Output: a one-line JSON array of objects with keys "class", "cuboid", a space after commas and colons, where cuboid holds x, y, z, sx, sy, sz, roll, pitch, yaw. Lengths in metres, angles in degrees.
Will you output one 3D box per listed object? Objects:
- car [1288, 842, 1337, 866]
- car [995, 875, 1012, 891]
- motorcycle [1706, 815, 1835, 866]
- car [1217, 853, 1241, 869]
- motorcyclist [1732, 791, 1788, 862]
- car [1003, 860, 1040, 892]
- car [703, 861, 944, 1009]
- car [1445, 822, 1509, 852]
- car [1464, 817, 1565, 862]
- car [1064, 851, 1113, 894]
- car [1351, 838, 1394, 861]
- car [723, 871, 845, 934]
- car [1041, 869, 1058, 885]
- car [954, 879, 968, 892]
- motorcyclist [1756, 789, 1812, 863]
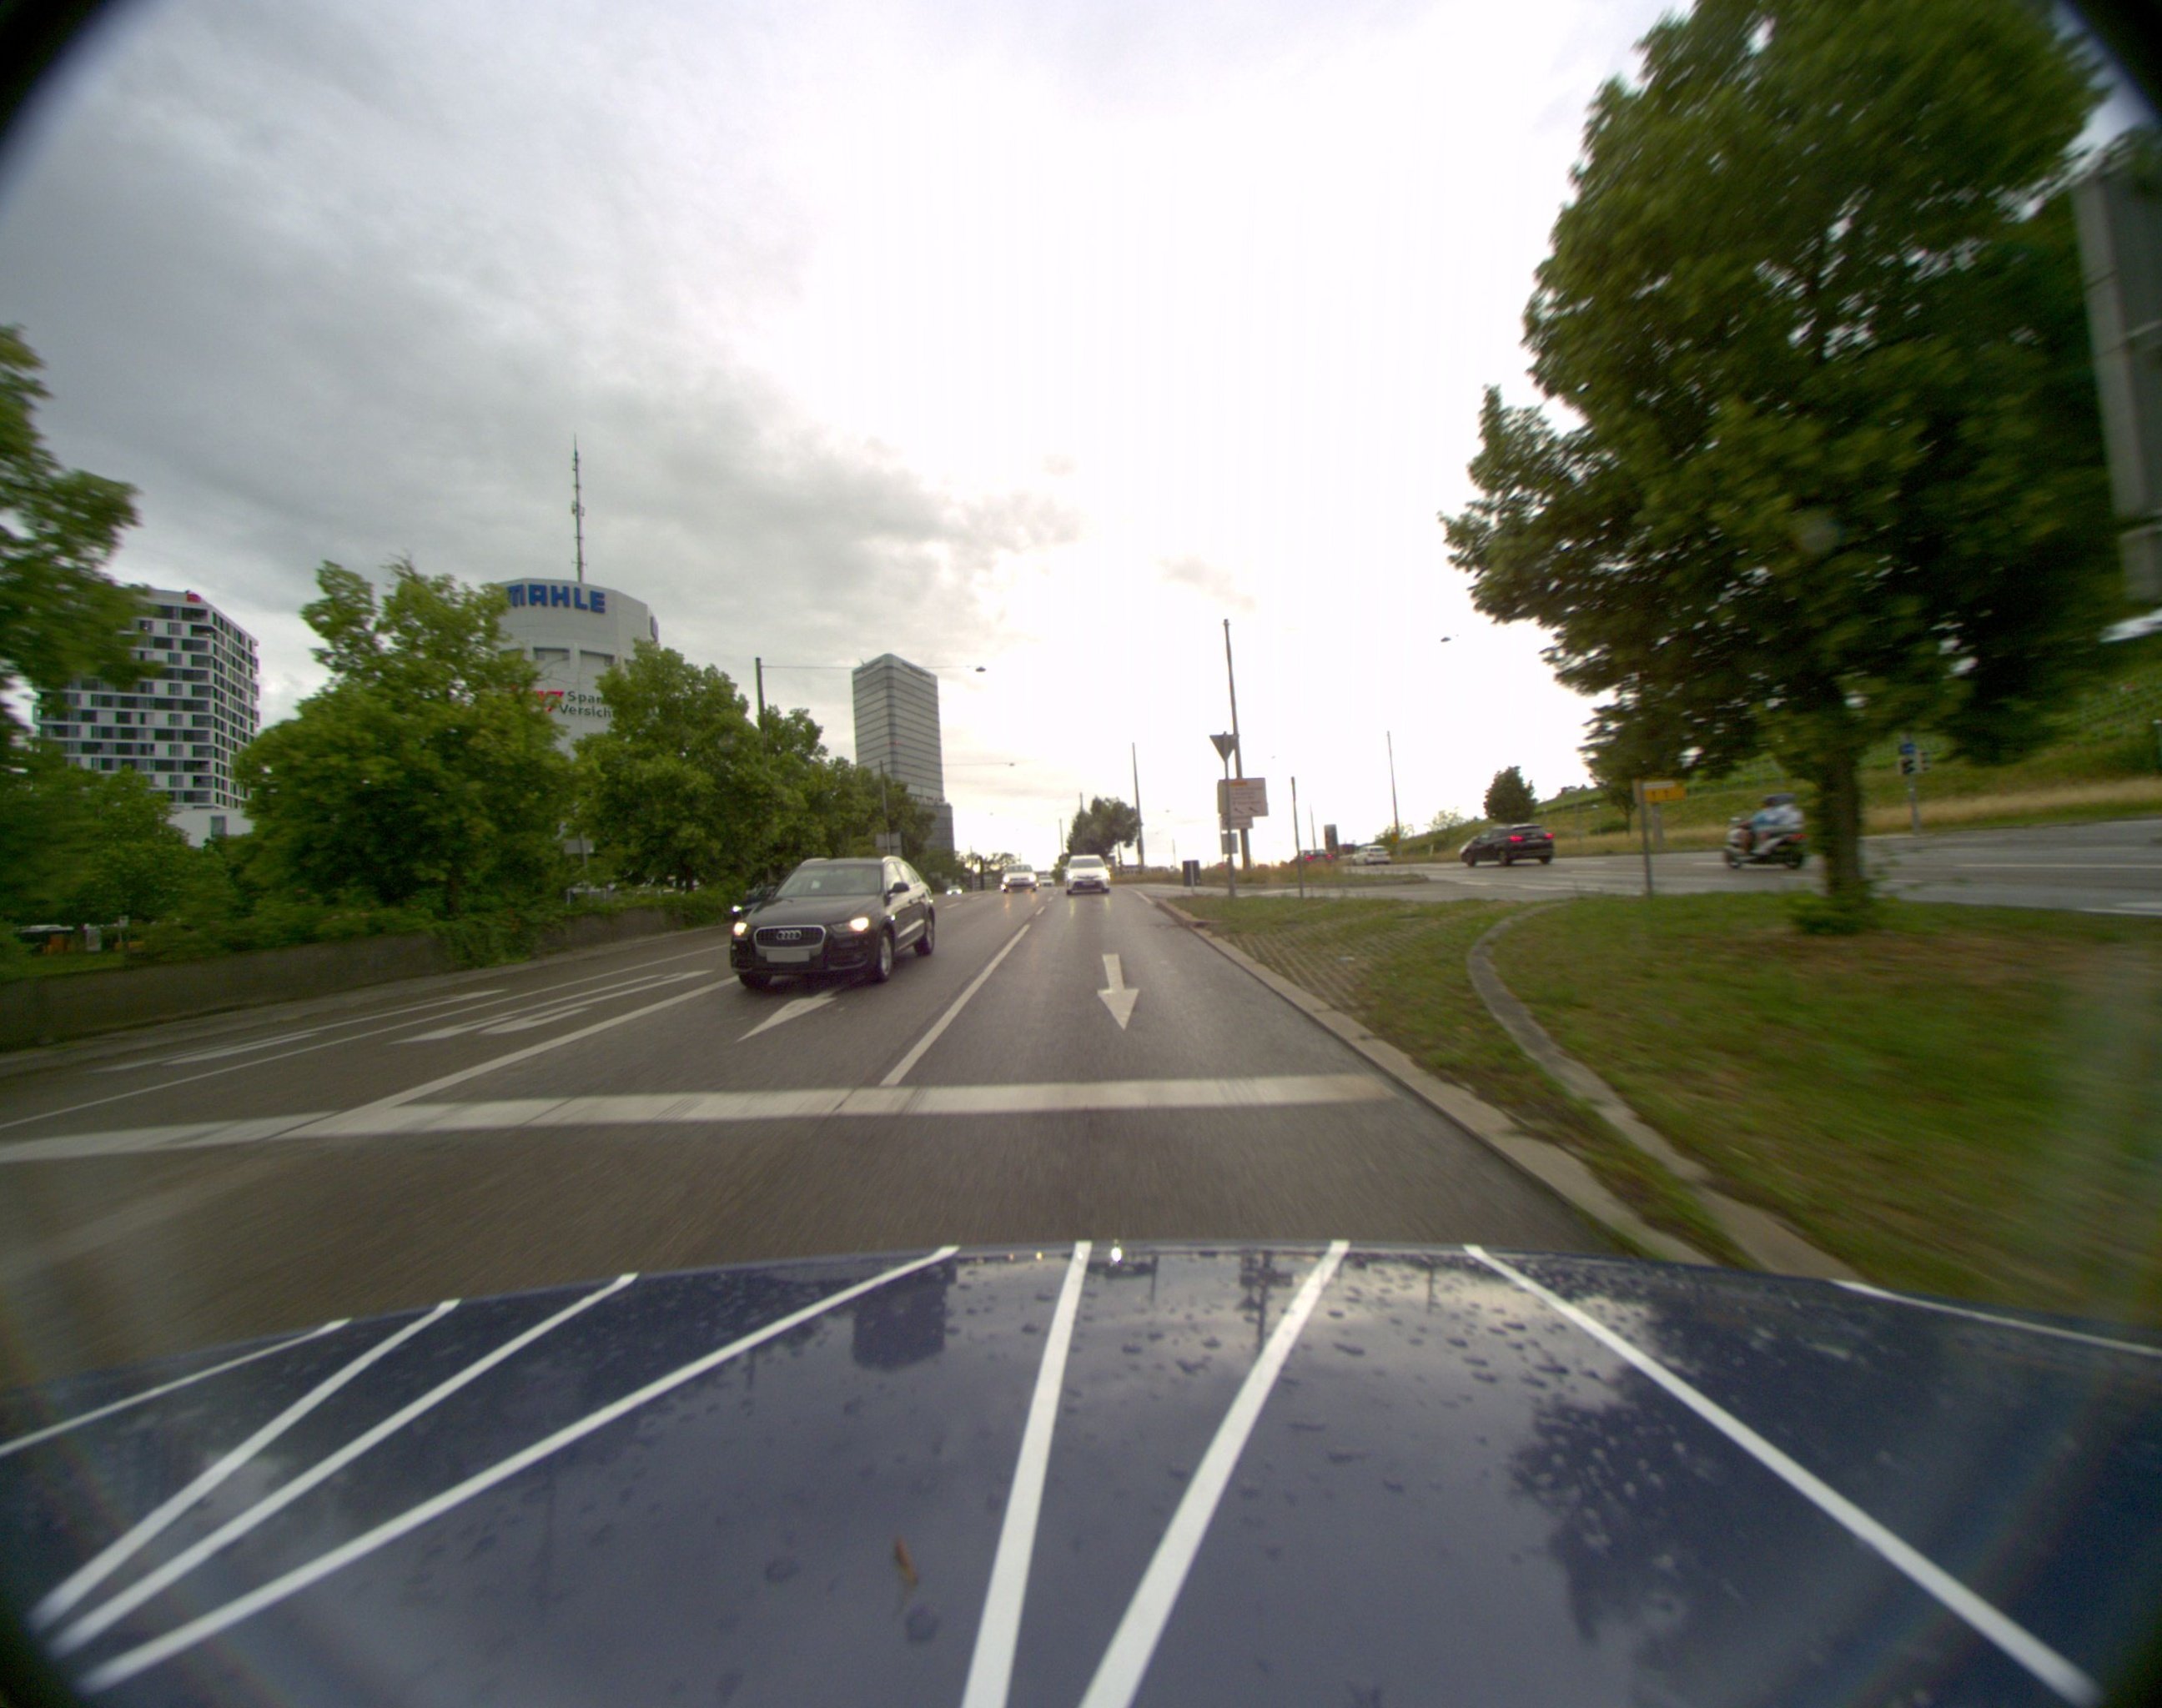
[{"class": "car", "cuboid": [15.839, -0.011, 52.167, 1.755, 1.495, 4.463, -4, 0, -2]}, {"class": "car", "cuboid": [-9.563, 3.576, 93.839, 1.803, 1.763, 3.999, -4, -2, -8]}, {"class": "motorcycle", "cuboid": [15.640, -0.276, 17.361, 0.618, 1.044, 2.502, -4, -1, 0]}, {"class": "car", "cuboid": [15.972, 0.752, 82.189, 1.772, 1.508, 4.002, -4, -3, 1]}, {"class": "motorcyclist", "cuboid": [15.638, -0.619, 17.511, 0.583, 1.586, 0.643, -4, -1, 0]}, {"class": "car", "cuboid": [-3.063, 1.117, 39.363, 1.730, 1.463, 4.263, -3, 0, -4]}, {"class": "car", "cuboid": [-3.285, 0.939, 10.649, 1.729, 1.525, 4.127, -4, 0, 2]}, {"class": "car", "cuboid": [22.459, -0.950, 43.222, 1.655, 1.454, 3.775, -4, -1, 1]}, {"class": "car", "cuboid": [16.284, -0.544, 28.745, 1.542, 1.495, 3.660, -4, 1, -3]}, {"class": "car", "cuboid": [0.384, 0.730, 32.009, 1.827, 1.574, 4.298, -4, 0, 2]}, {"class": "car", "cuboid": [22.940, -0.366, 59.922, 1.772, 1.639, 4.177, -4, 1, 1]}, {"class": "car", "cuboid": [-8.904, 1.397, 23.226, 1.876, 1.417, 4.347, -4, 1, 0]}, {"class": "car", "cuboid": [-3.328, 2.434, 79.461, 1.543, 1.420, 3.807, -4, -2, -6]}, {"class": "car", "cuboid": [-15.013, 3.972, 95.390, 1.636, 1.467, 3.676, -3, -2, -9]}, {"class": "motorcyclist", "cuboid": [15.599, -0.609, 16.872, 0.613, 1.572, 0.582, -4, 0, 0]}]
